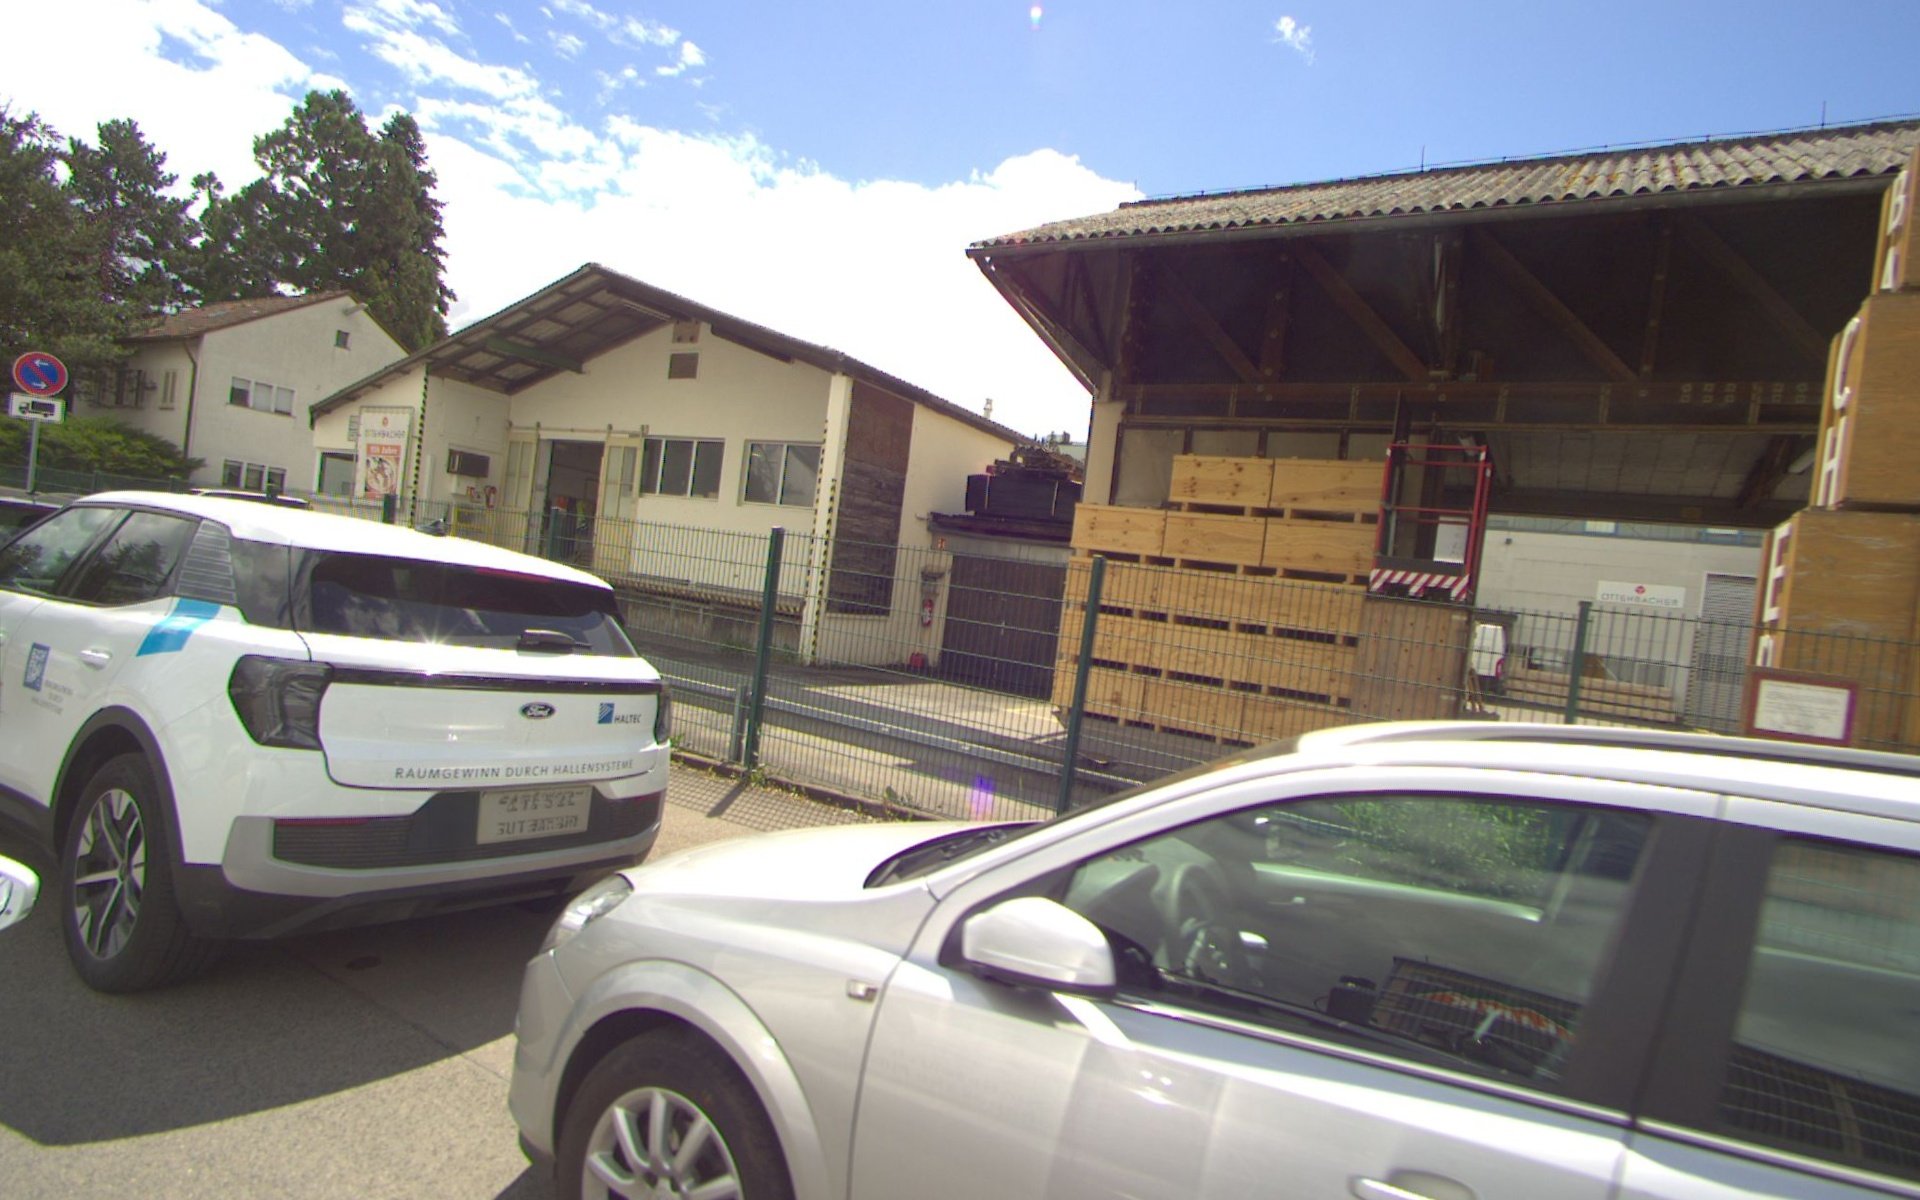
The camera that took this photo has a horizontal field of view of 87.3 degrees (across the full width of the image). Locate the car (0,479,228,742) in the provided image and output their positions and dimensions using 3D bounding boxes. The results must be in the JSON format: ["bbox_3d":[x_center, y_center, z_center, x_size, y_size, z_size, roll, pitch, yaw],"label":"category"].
[{"bbox_3d":[-7.329,-0.117,7.213,4.015,1.571,1.692,7,0,28],"label":"car"}]

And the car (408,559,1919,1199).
[{"bbox_3d":[1.100,0.907,1.932,4.290,1.468,1.793,7,1,31],"label":"car"}]

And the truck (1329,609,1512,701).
[{"bbox_3d":[15.747,1.861,34.515,5.288,2.370,1.998,7,-2,31],"label":"truck"}]

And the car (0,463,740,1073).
[{"bbox_3d":[-3.362,0.299,4.598,4.496,1.572,1.793,7,1,31],"label":"car"}]

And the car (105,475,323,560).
[{"bbox_3d":[-23.092,-2.506,31.359,1.968,1.954,5.016,7,1,34],"label":"car"}]
